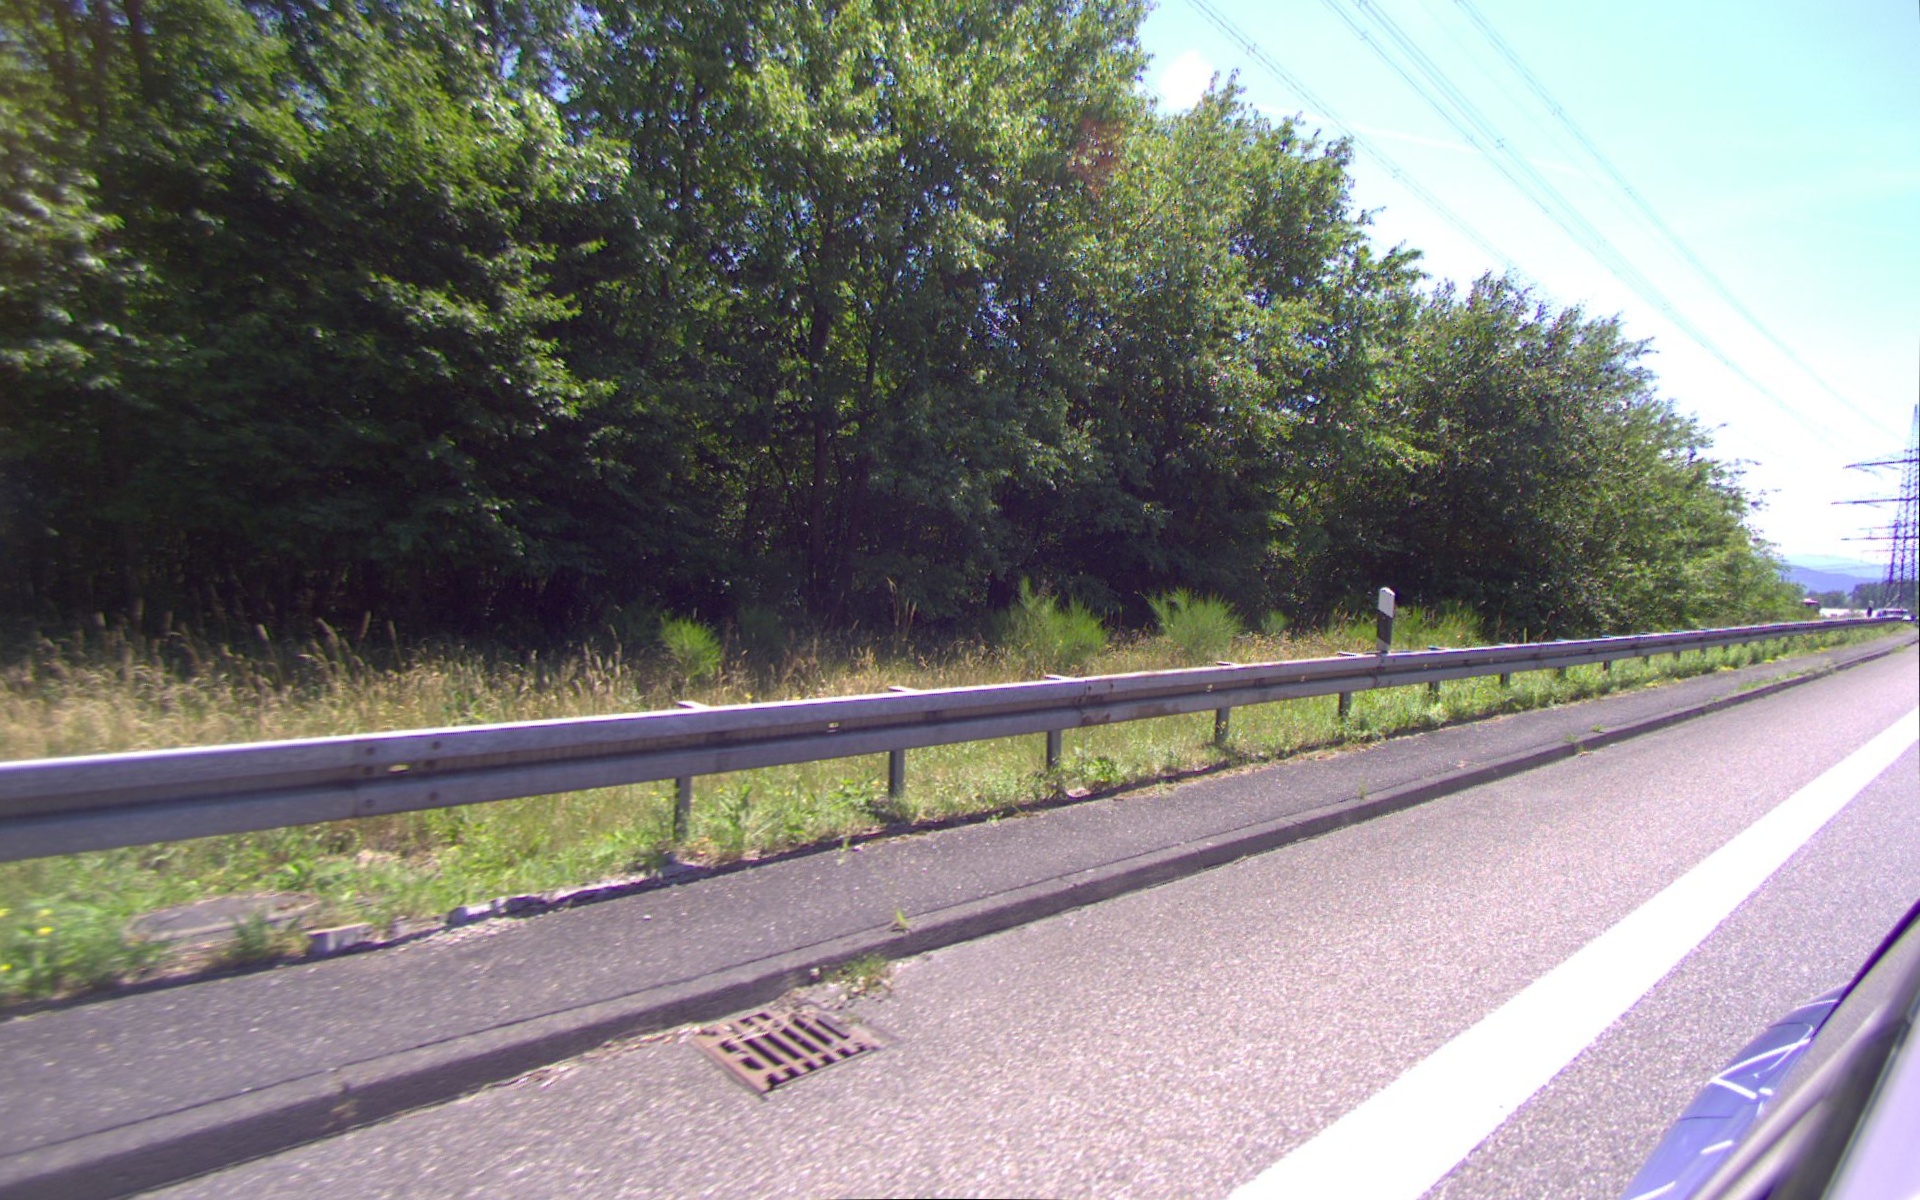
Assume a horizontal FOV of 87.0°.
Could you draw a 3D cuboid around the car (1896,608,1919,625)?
[{"bbox_3d":[99.128,1.690,105.640,1.992,1.705,3.940,1,0,41],"label":"car"}]
